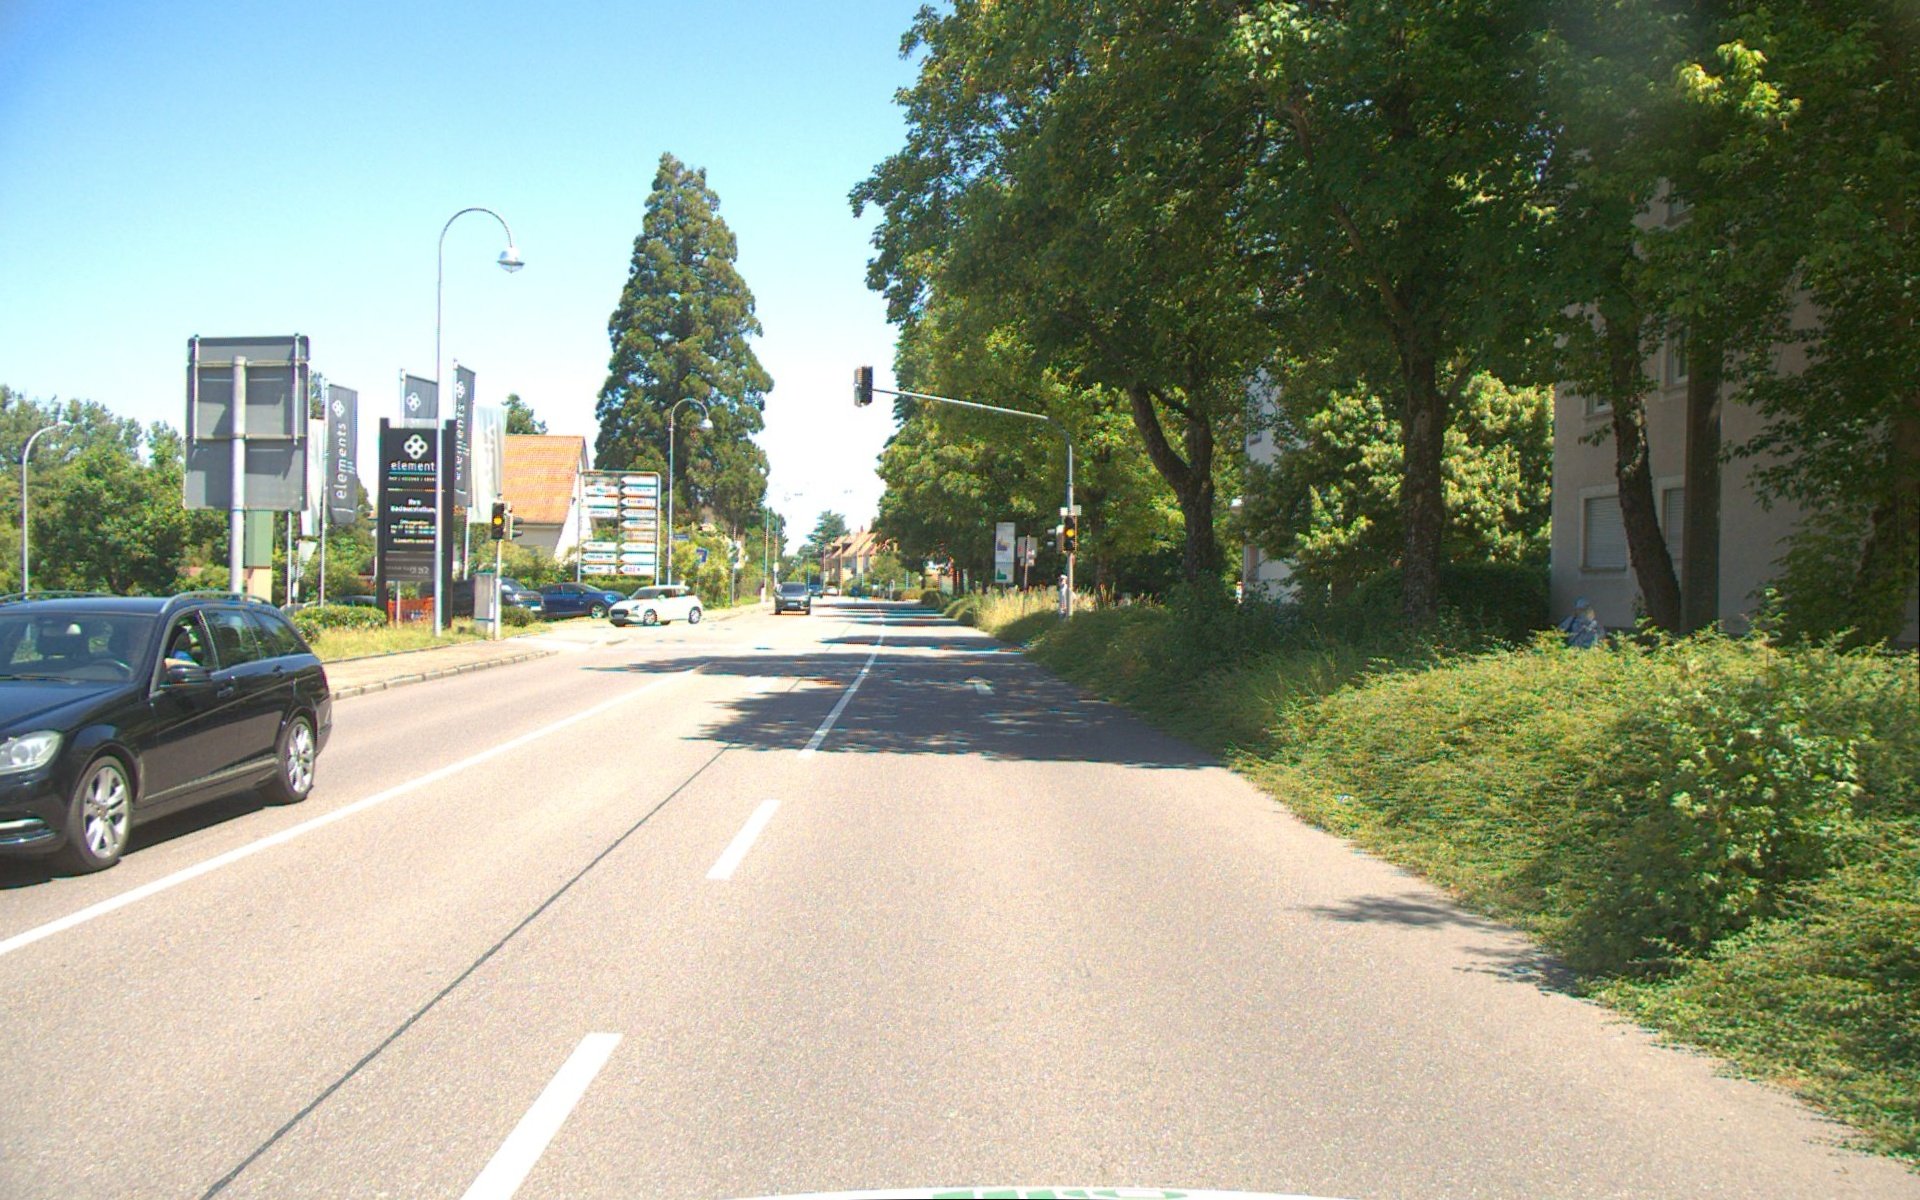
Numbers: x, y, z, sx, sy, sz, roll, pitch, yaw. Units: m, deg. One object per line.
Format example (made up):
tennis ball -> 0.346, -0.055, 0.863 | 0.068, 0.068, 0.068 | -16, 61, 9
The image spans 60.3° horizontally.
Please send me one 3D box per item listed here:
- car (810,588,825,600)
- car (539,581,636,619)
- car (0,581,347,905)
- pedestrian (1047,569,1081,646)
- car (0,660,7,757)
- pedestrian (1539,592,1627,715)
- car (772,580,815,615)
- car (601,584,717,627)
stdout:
car -> -16.325, -0.675, 189.218 | 1.402, 1.345, 3.354 | 1, 0, 0
car -> -14.890, 0.006, 66.194 | 3.417, 1.452, 1.602 | 1, 0, 7
car -> -5.340, 0.667, 10.093 | 1.675, 1.521, 4.276 | 1, 1, -1
pedestrian -> 2.451, 0.178, 38.902 | 0.554, 1.781, 0.610 | 1, 0, -27
car -> -16.112, 1.621, 24.226 | 3.268, 1.448, 1.781 | 1, 0, 3
pedestrian -> 7.058, 0.594, 18.770 | 0.648, 1.358, 0.889 | 1, 0, -1
car -> -8.638, -0.141, 85.975 | 1.841, 1.747, 4.309 | 1, 0, -1
car -> -11.333, 0.195, 62.560 | 1.958, 1.513, 4.298 | 1, 0, 32
